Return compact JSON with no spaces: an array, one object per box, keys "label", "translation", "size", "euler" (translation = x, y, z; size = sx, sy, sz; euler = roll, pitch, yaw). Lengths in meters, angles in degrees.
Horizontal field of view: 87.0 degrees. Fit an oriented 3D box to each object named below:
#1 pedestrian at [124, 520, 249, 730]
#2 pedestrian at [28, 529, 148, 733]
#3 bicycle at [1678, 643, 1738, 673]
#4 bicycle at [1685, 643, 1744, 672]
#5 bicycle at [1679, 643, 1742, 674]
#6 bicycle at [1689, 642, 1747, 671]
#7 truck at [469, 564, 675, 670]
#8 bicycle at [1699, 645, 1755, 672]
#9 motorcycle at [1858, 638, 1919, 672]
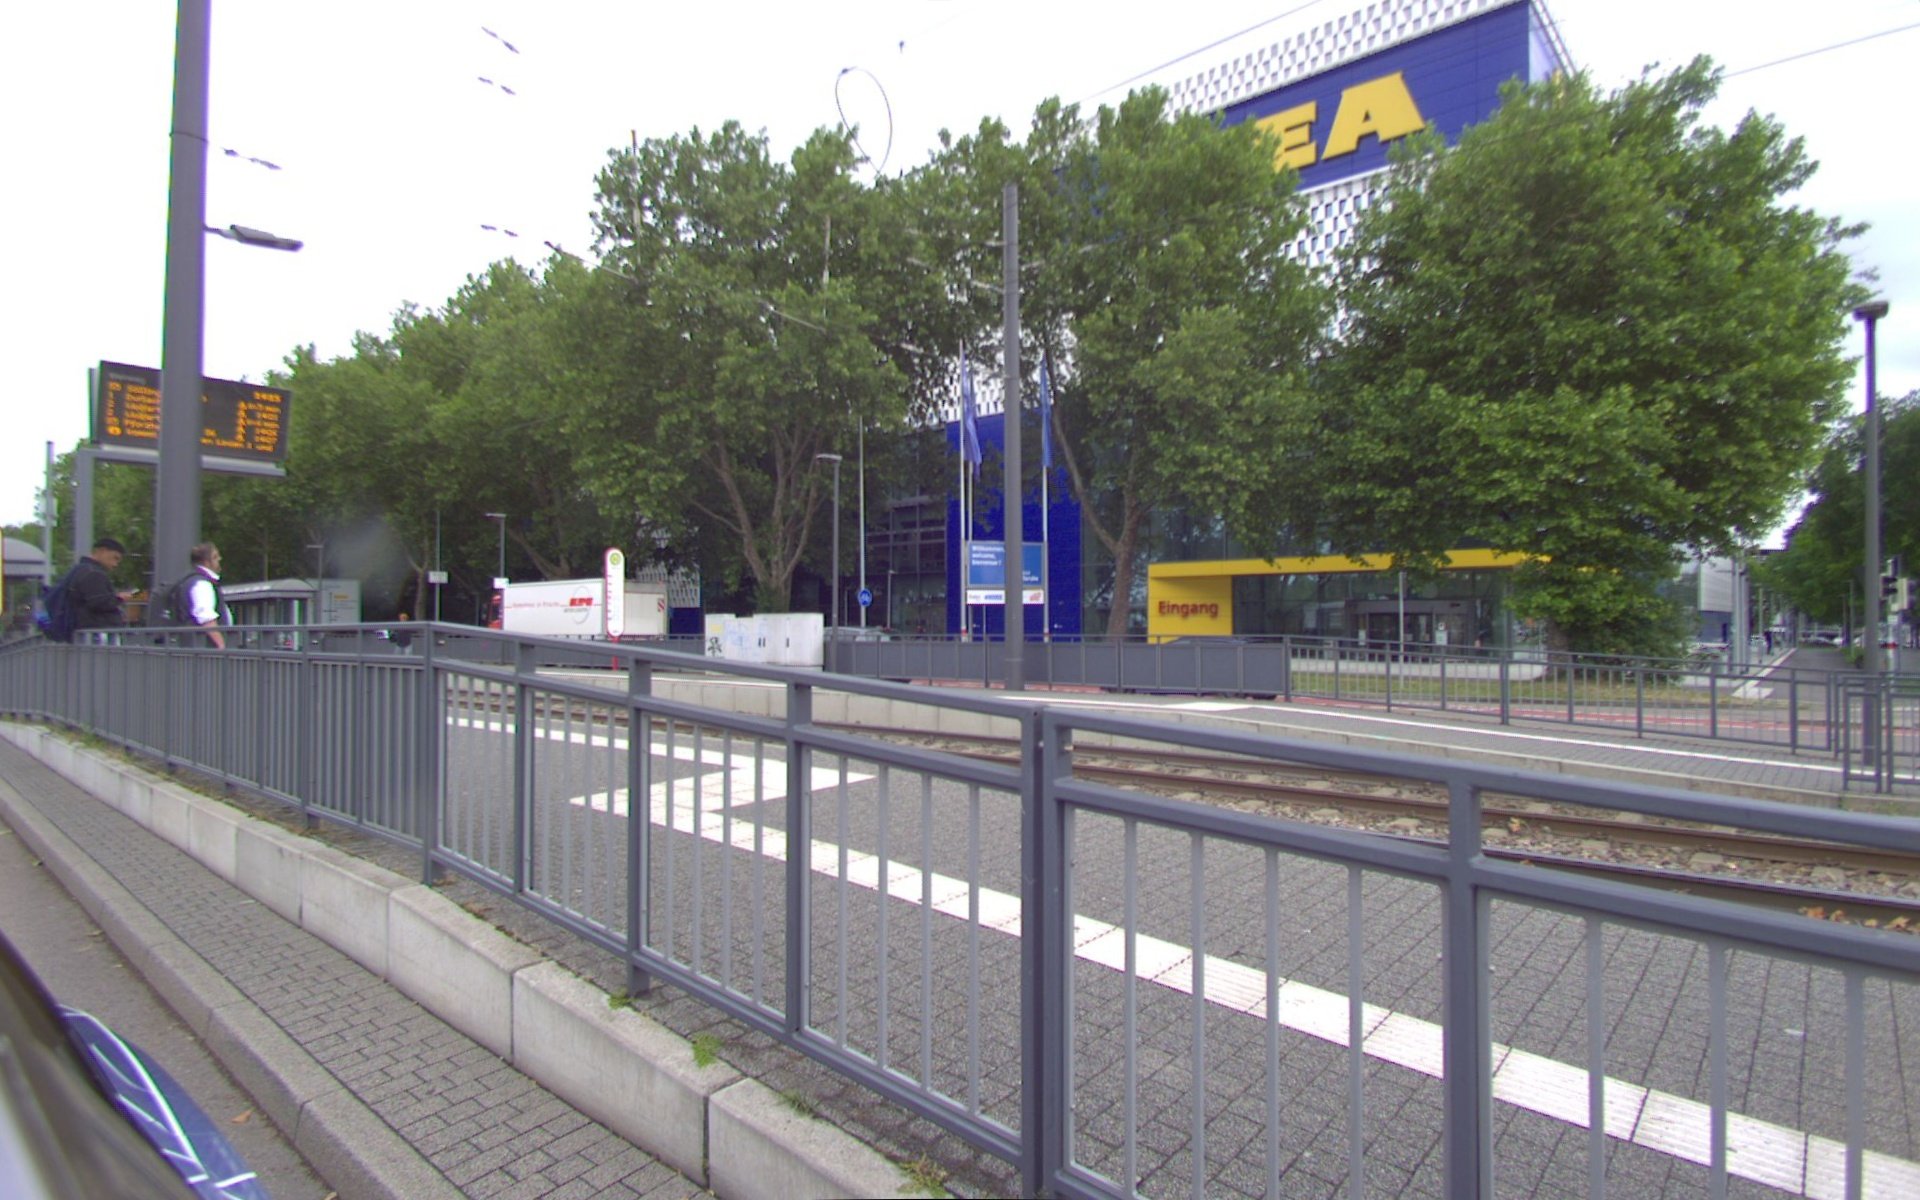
[{"label":"pedestrian","translation":[-6.158,0.186,8.060],"size":[0.633,1.571,0.701],"euler":[-1,0,45]},{"label":"pedestrian","translation":[-7.920,0.268,9.199],"size":[0.587,1.755,0.776],"euler":[-1,0,45]},{"label":"bicycle","translation":[32.242,2.480,43.615],"size":[2.022,1.165,0.585],"euler":[1,-1,42]},{"label":"bicycle","translation":[33.070,2.506,44.365],"size":[2.022,1.165,0.585],"euler":[1,-1,42]},{"label":"bicycle","translation":[31.495,2.437,42.502],"size":[2.012,1.165,0.588],"euler":[1,-1,27]},{"label":"bicycle","translation":[33.854,2.513,45.207],"size":[2.022,1.165,0.585],"euler":[1,-1,42]},{"label":"truck","translation":[-15.434,0.779,39.728],"size":[9.892,3.691,3.217],"euler":[-2,-4,41]},{"label":"bicycle","translation":[35.717,2.712,47.140],"size":[2.015,1.165,0.587],"euler":[1,-1,31]},{"label":"motorcycle","translation":[41.922,2.461,45.273],"size":[2.491,1.365,0.791],"euler":[2,0,31]}]
